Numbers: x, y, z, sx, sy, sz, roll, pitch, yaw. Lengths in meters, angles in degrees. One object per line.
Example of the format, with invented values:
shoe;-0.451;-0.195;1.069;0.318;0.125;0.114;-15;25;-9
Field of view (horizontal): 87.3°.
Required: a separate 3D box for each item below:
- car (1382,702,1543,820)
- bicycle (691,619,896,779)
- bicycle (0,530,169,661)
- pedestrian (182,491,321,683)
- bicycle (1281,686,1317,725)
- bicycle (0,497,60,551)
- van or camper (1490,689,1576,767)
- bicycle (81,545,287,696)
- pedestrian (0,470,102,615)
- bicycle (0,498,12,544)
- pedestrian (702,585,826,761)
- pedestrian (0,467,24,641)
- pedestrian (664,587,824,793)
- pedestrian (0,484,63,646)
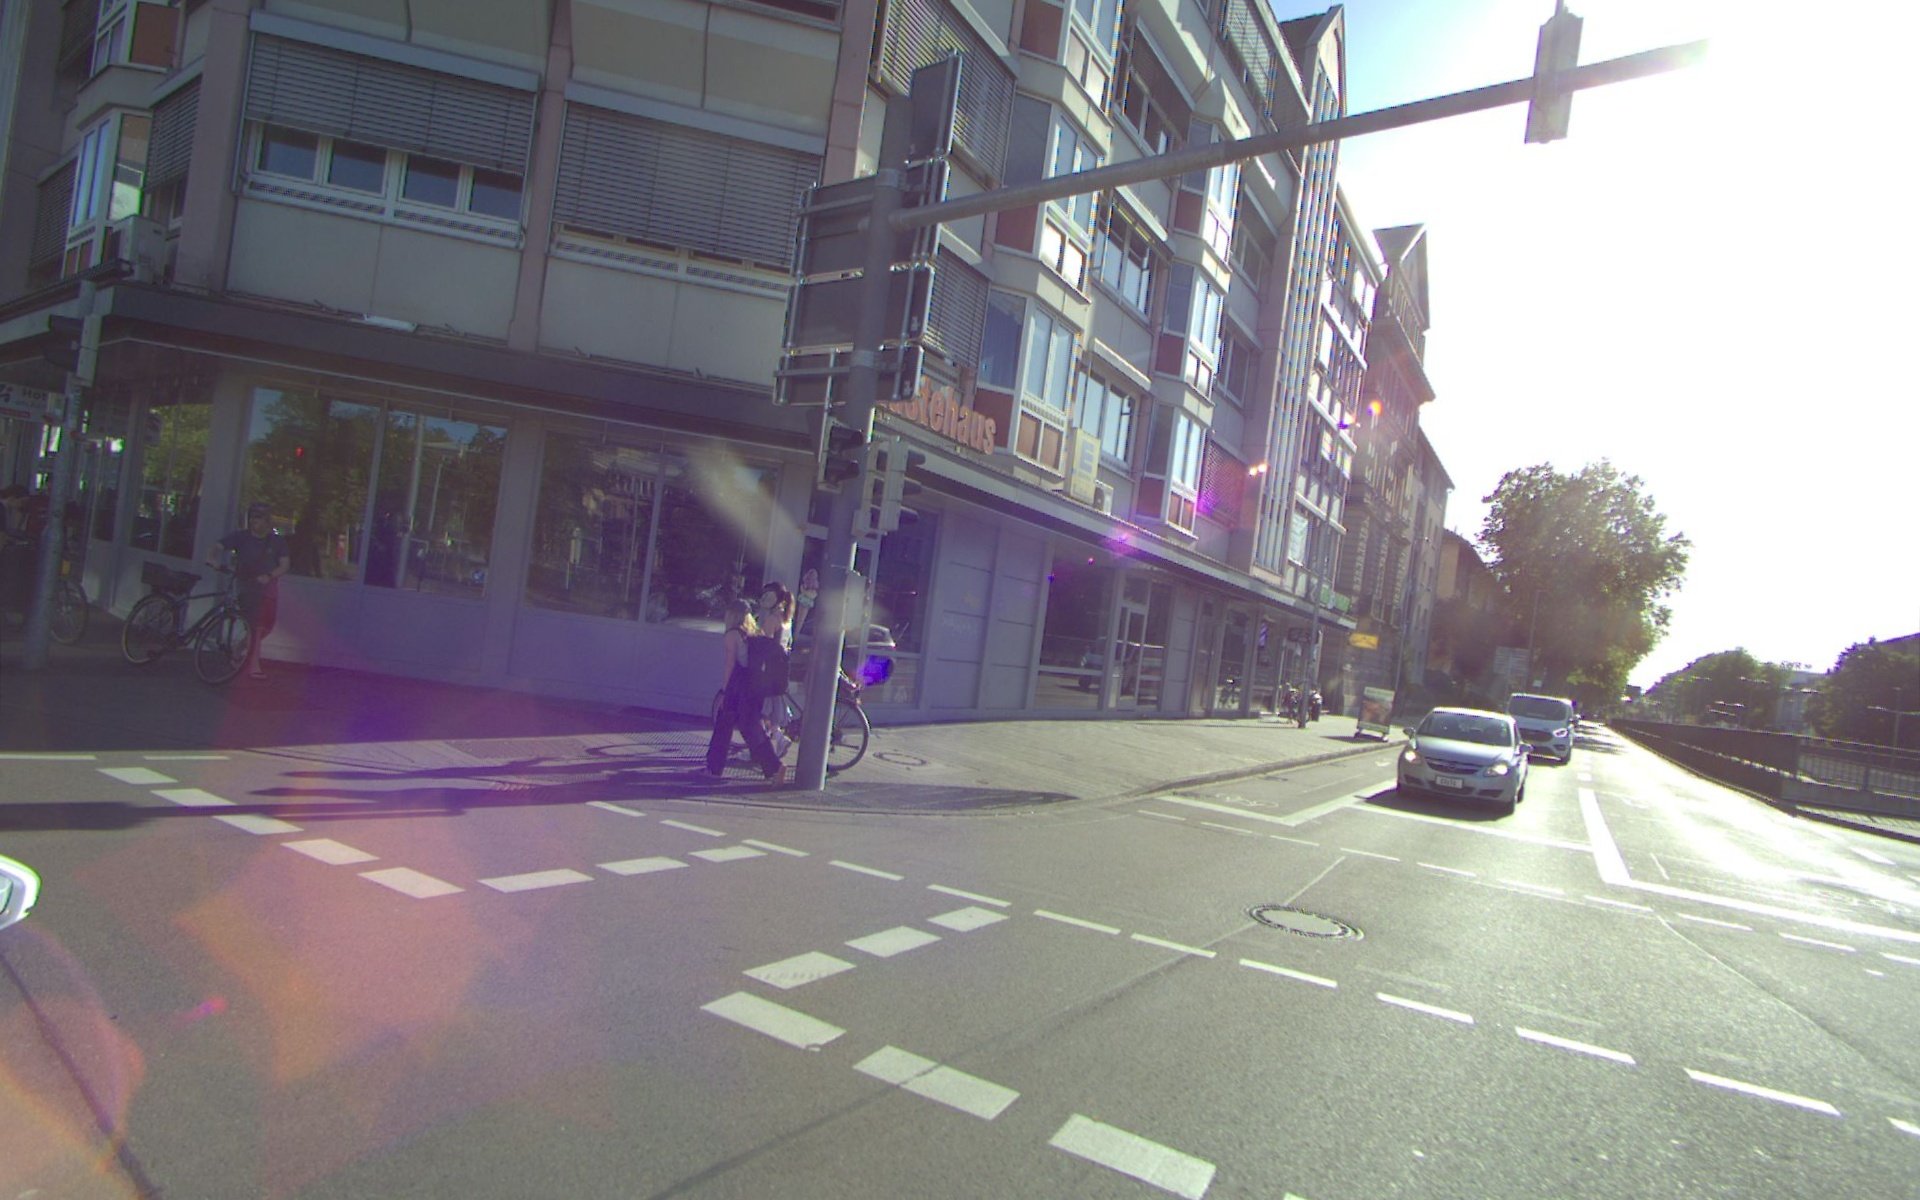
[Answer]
car;8.243;2.520;16.322;1.775;1.448;3.845;5;-3;34
bicycle;-1.696;0.973;10.185;1.872;1.299;0.546;7;-1;20
bicycle;-9.458;-0.062;10.698;2.085;1.115;0.490;8;-1;19
pedestrian;-7.213;-0.126;10.300;0.908;1.775;0.832;8;-1;-31
bicycle;10.205;3.188;30.249;0.527;1.061;1.971;7;-2;31
bicycle;-25.212;-2.083;26.185;0.783;1.231;2.431;7;-2;34
van or camper;18.370;4.030;32.130;2.008;1.975;5.252;8;-1;32
bicycle;-7.476;0.188;9.680;1.937;1.175;0.490;7;-1;20
pedestrian;-11.668;-0.722;12.842;0.659;1.708;0.689;7;-1;23
bicycle;-27.039;-2.313;26.754;0.816;1.231;2.431;7;-2;34
pedestrian;-1.915;0.702;9.862;0.852;1.573;0.527;7;-1;22
pedestrian;-8.595;-0.278;8.503;0.902;1.803;0.627;7;-1;33
pedestrian;-1.878;0.775;8.813;0.852;1.595;0.782;9;0;25
pedestrian;-9.670;-0.360;10.205;0.534;1.581;0.473;8;-1;15
